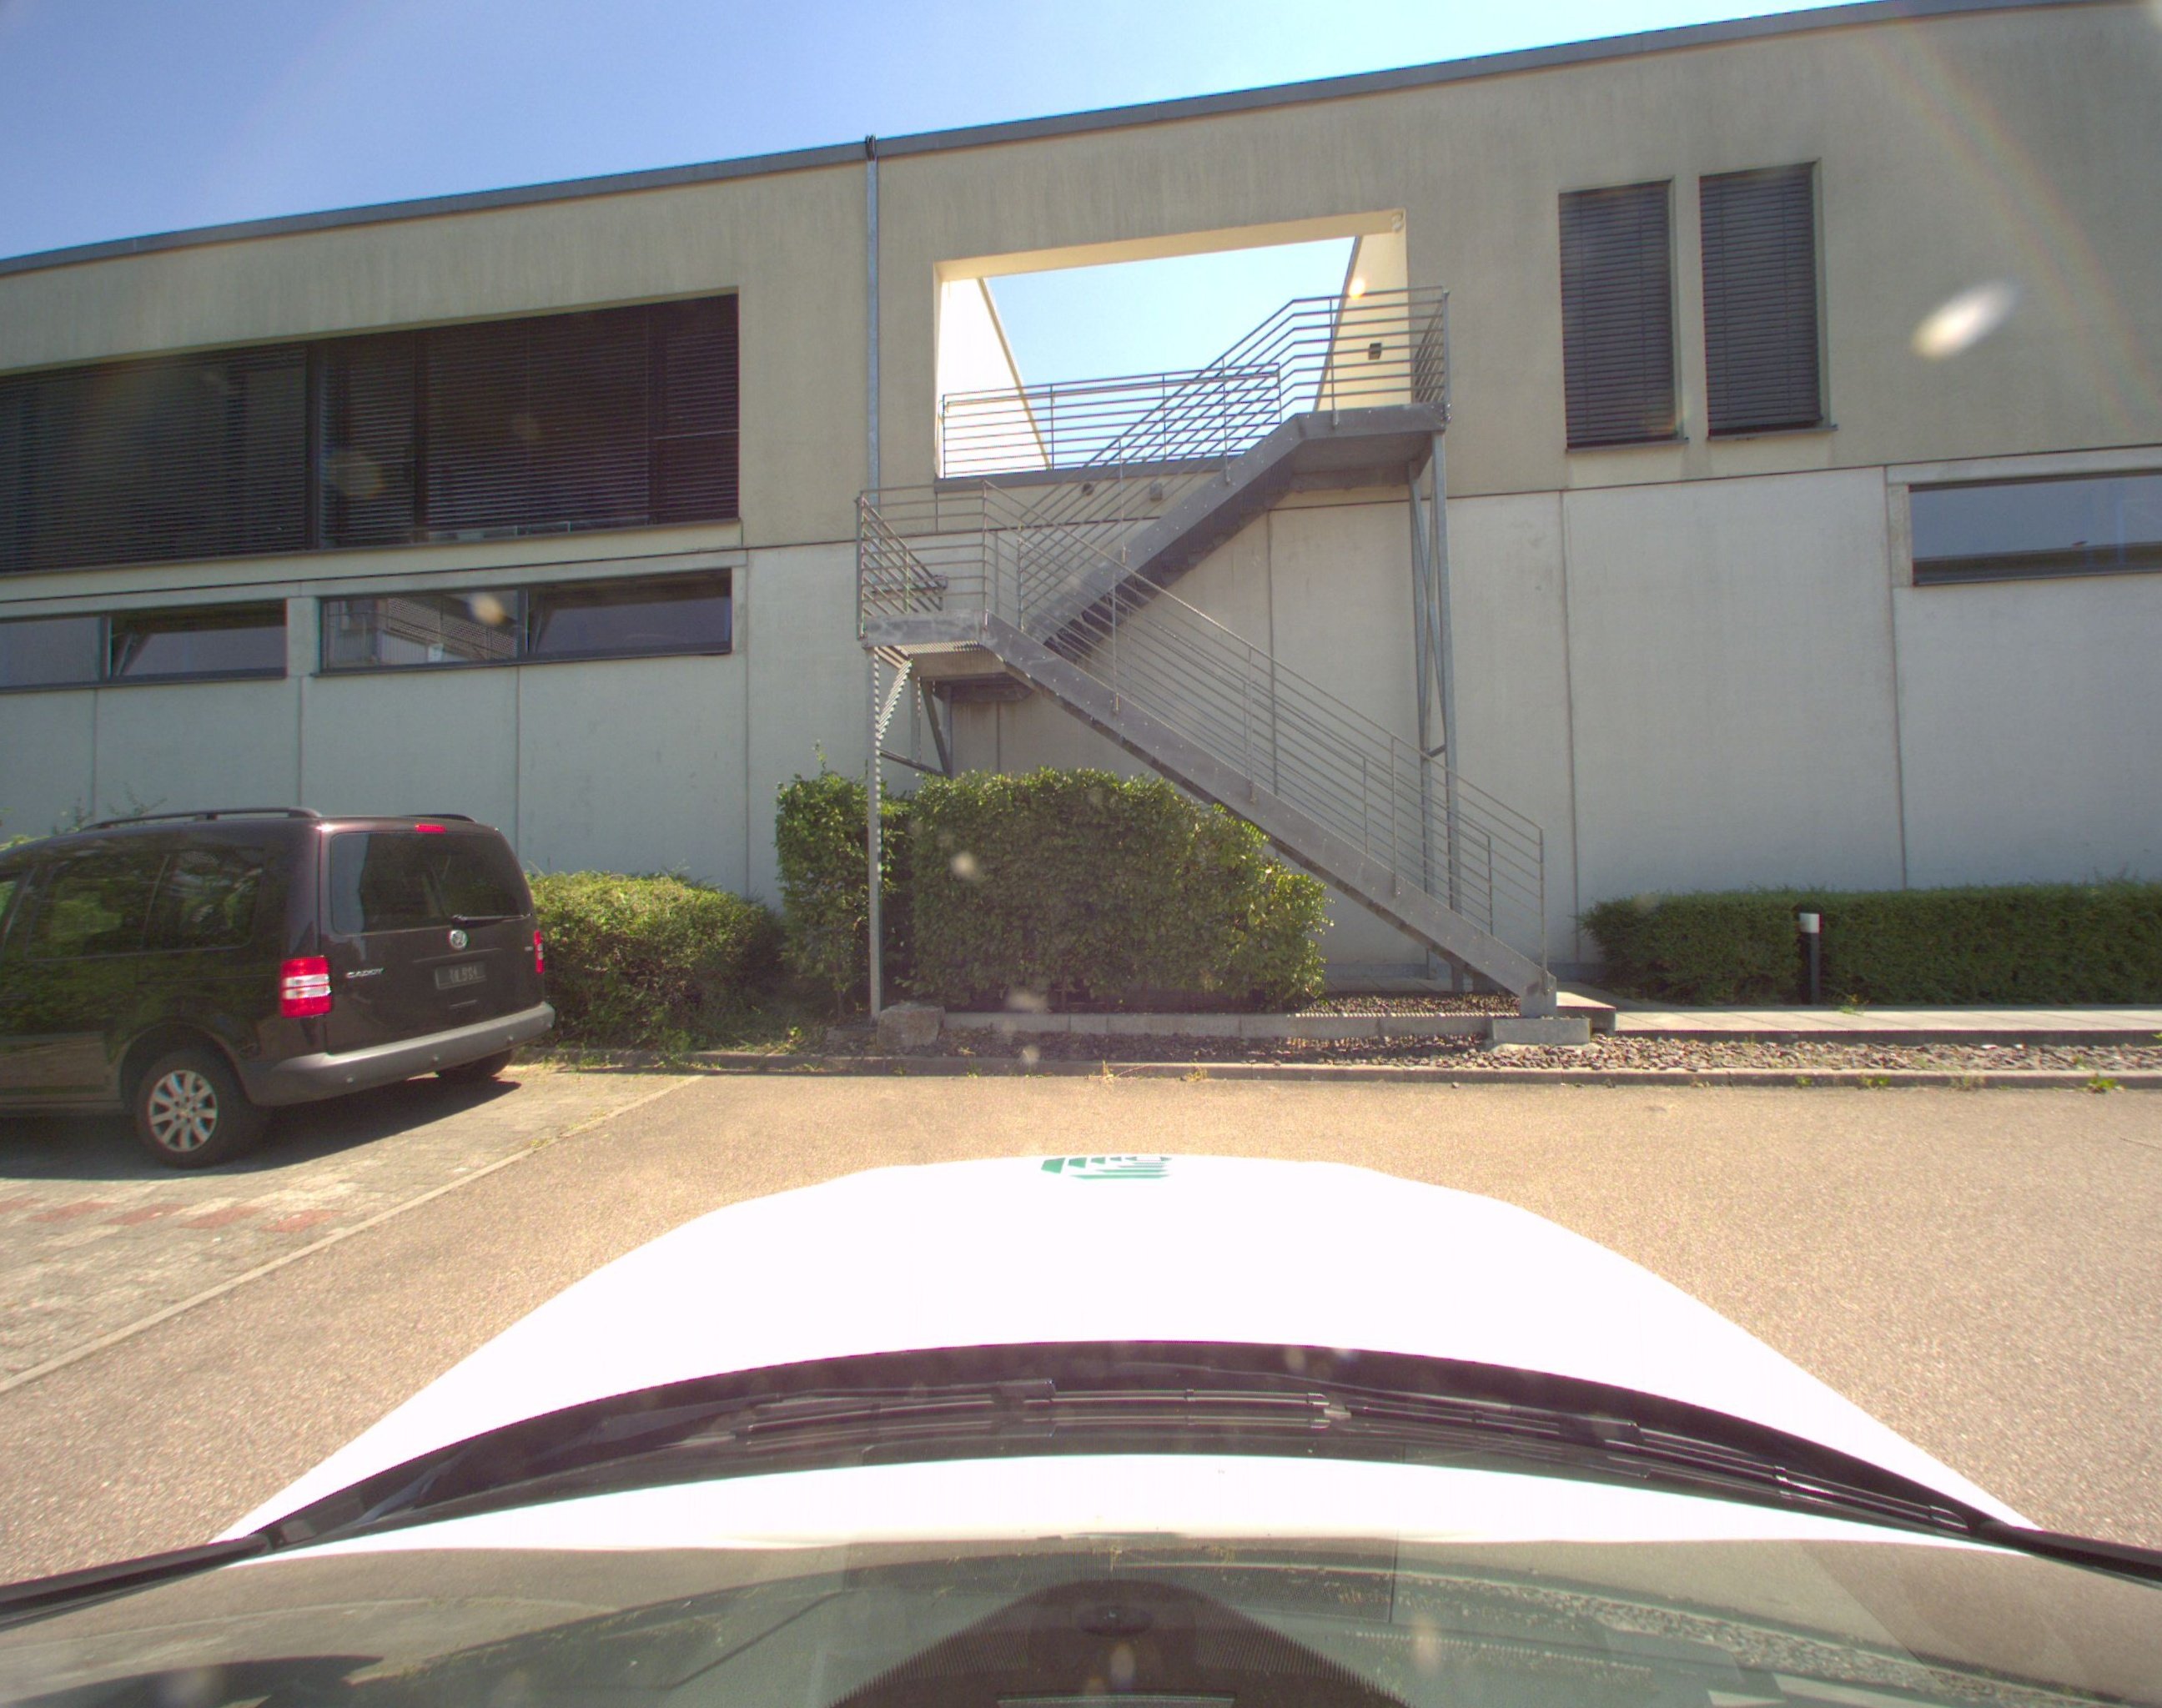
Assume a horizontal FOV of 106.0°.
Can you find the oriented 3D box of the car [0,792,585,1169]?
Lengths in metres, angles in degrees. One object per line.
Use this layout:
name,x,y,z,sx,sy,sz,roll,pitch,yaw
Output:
car,-5.634,0.677,5.186,4.035,1.884,1.683,-1,-1,8
